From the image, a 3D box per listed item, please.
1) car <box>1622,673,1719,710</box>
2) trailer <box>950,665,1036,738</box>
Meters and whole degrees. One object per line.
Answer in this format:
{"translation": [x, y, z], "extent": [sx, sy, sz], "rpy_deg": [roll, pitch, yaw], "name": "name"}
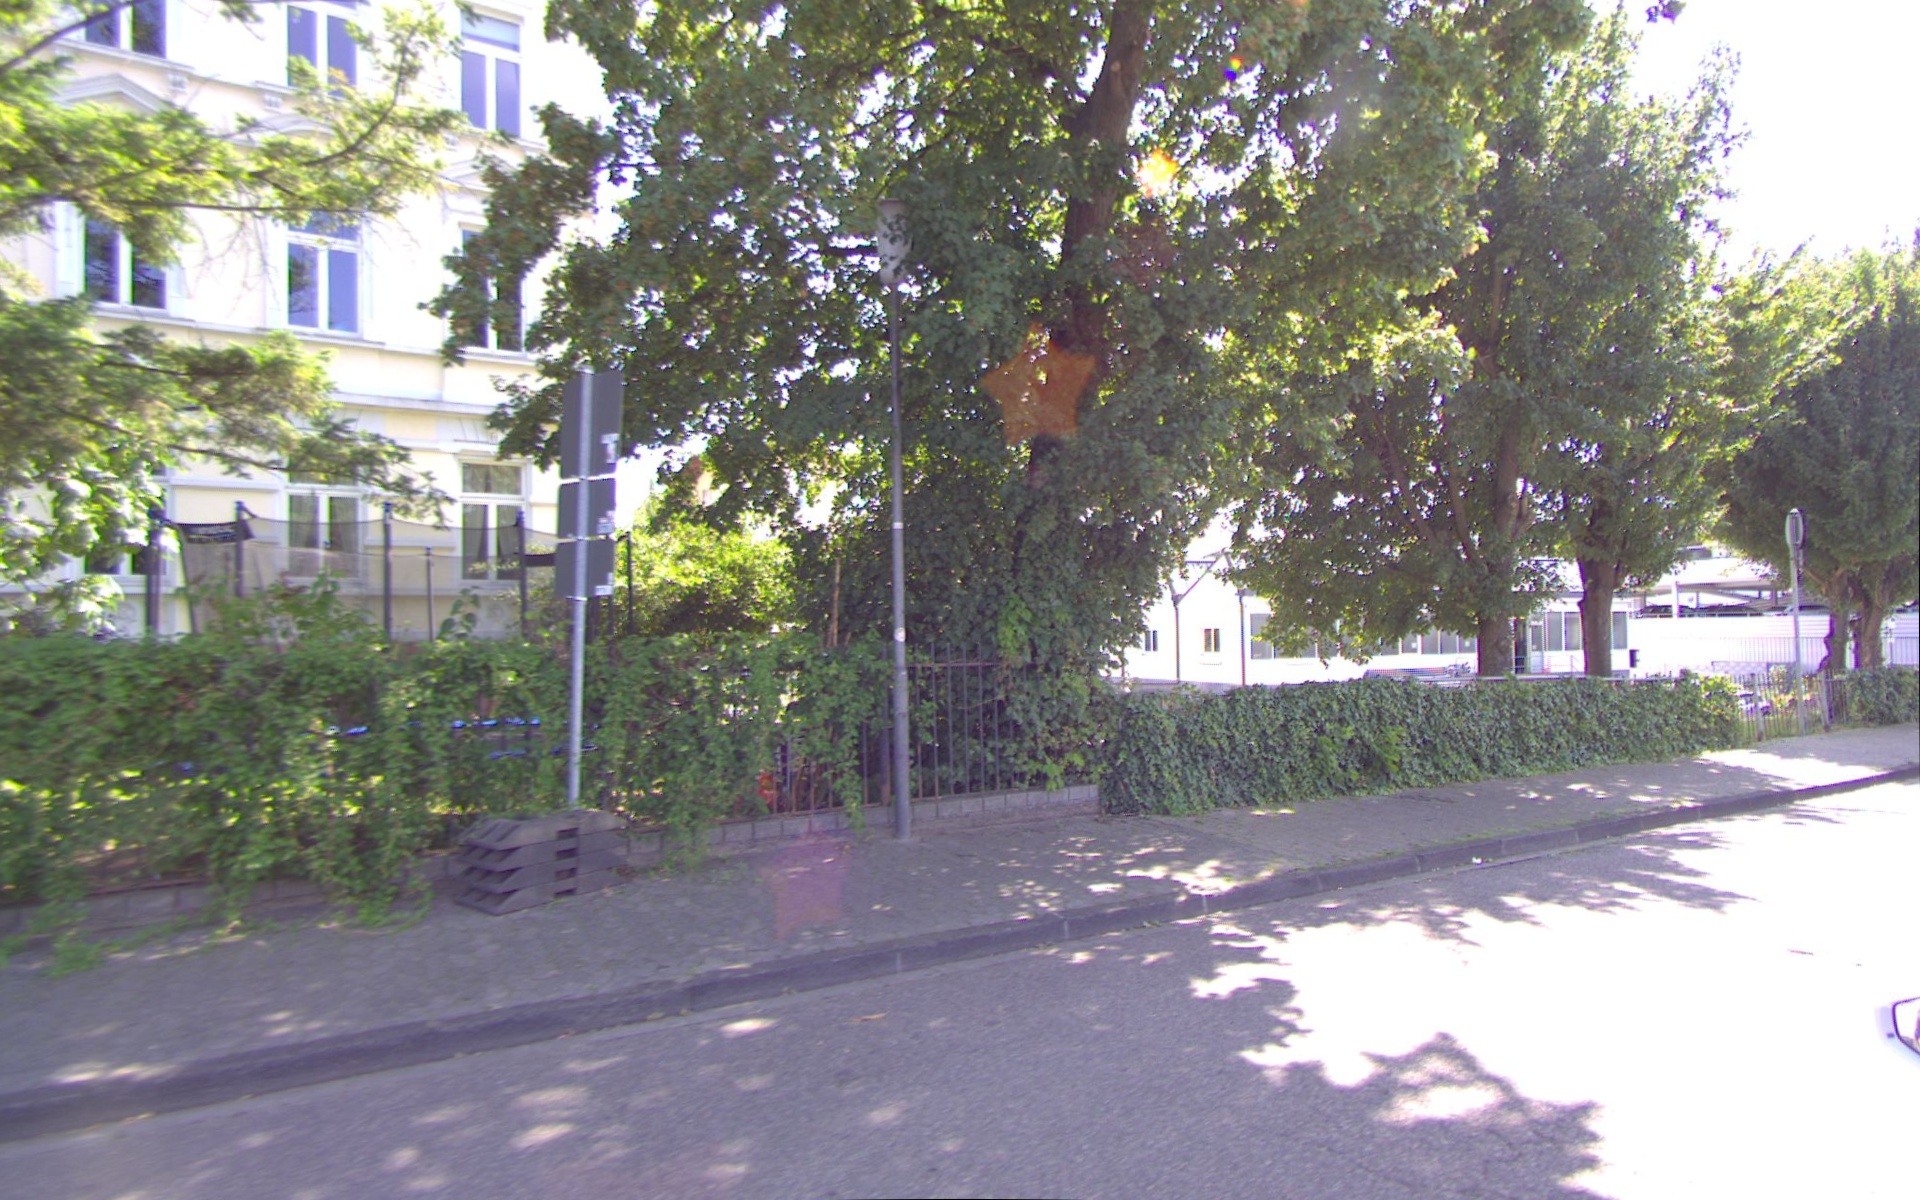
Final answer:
{"translation": [32.288, 4.141, 45.669], "extent": [3.948, 1.461, 1.987], "rpy_deg": [1, -2, -27], "name": "car"}
{"translation": [1.937, 6.180, 62.715], "extent": [2.717, 4.046, 6.846], "rpy_deg": [0, -2, -23], "name": "trailer"}
